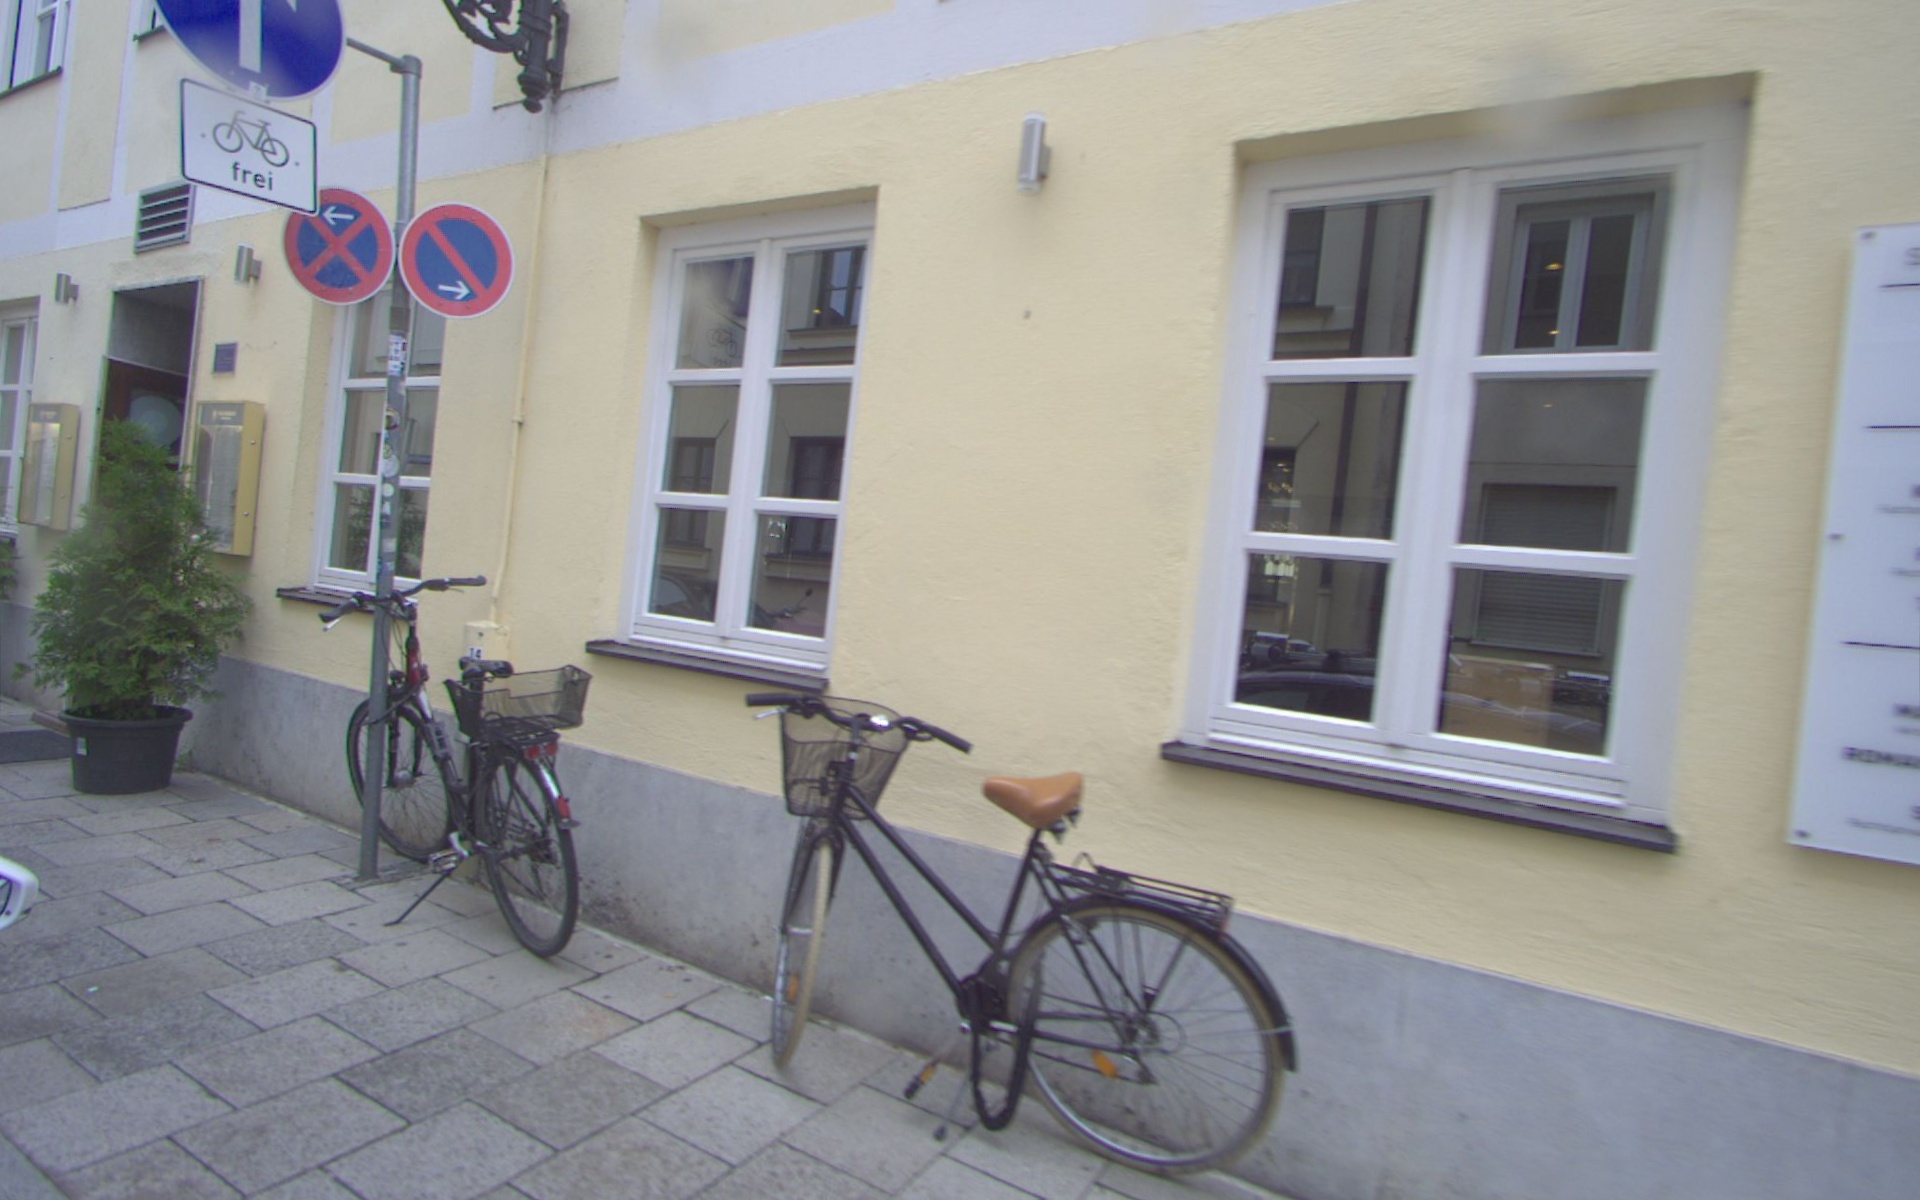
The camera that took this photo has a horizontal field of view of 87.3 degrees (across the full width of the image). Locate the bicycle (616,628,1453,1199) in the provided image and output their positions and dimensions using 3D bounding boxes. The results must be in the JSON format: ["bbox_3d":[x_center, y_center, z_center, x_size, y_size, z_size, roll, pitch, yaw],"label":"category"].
[{"bbox_3d":[0.068,0.758,2.527,1.954,1.152,0.565,7,3,31],"label":"bicycle"}]

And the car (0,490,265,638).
[{"bbox_3d":[-11.111,-0.504,12.148,1.735,1.458,4.022,9,0,32],"label":"car"}]

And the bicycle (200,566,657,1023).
[{"bbox_3d":[-1.888,0.544,3.481,1.656,1.152,0.565,7,3,31],"label":"bicycle"}]
